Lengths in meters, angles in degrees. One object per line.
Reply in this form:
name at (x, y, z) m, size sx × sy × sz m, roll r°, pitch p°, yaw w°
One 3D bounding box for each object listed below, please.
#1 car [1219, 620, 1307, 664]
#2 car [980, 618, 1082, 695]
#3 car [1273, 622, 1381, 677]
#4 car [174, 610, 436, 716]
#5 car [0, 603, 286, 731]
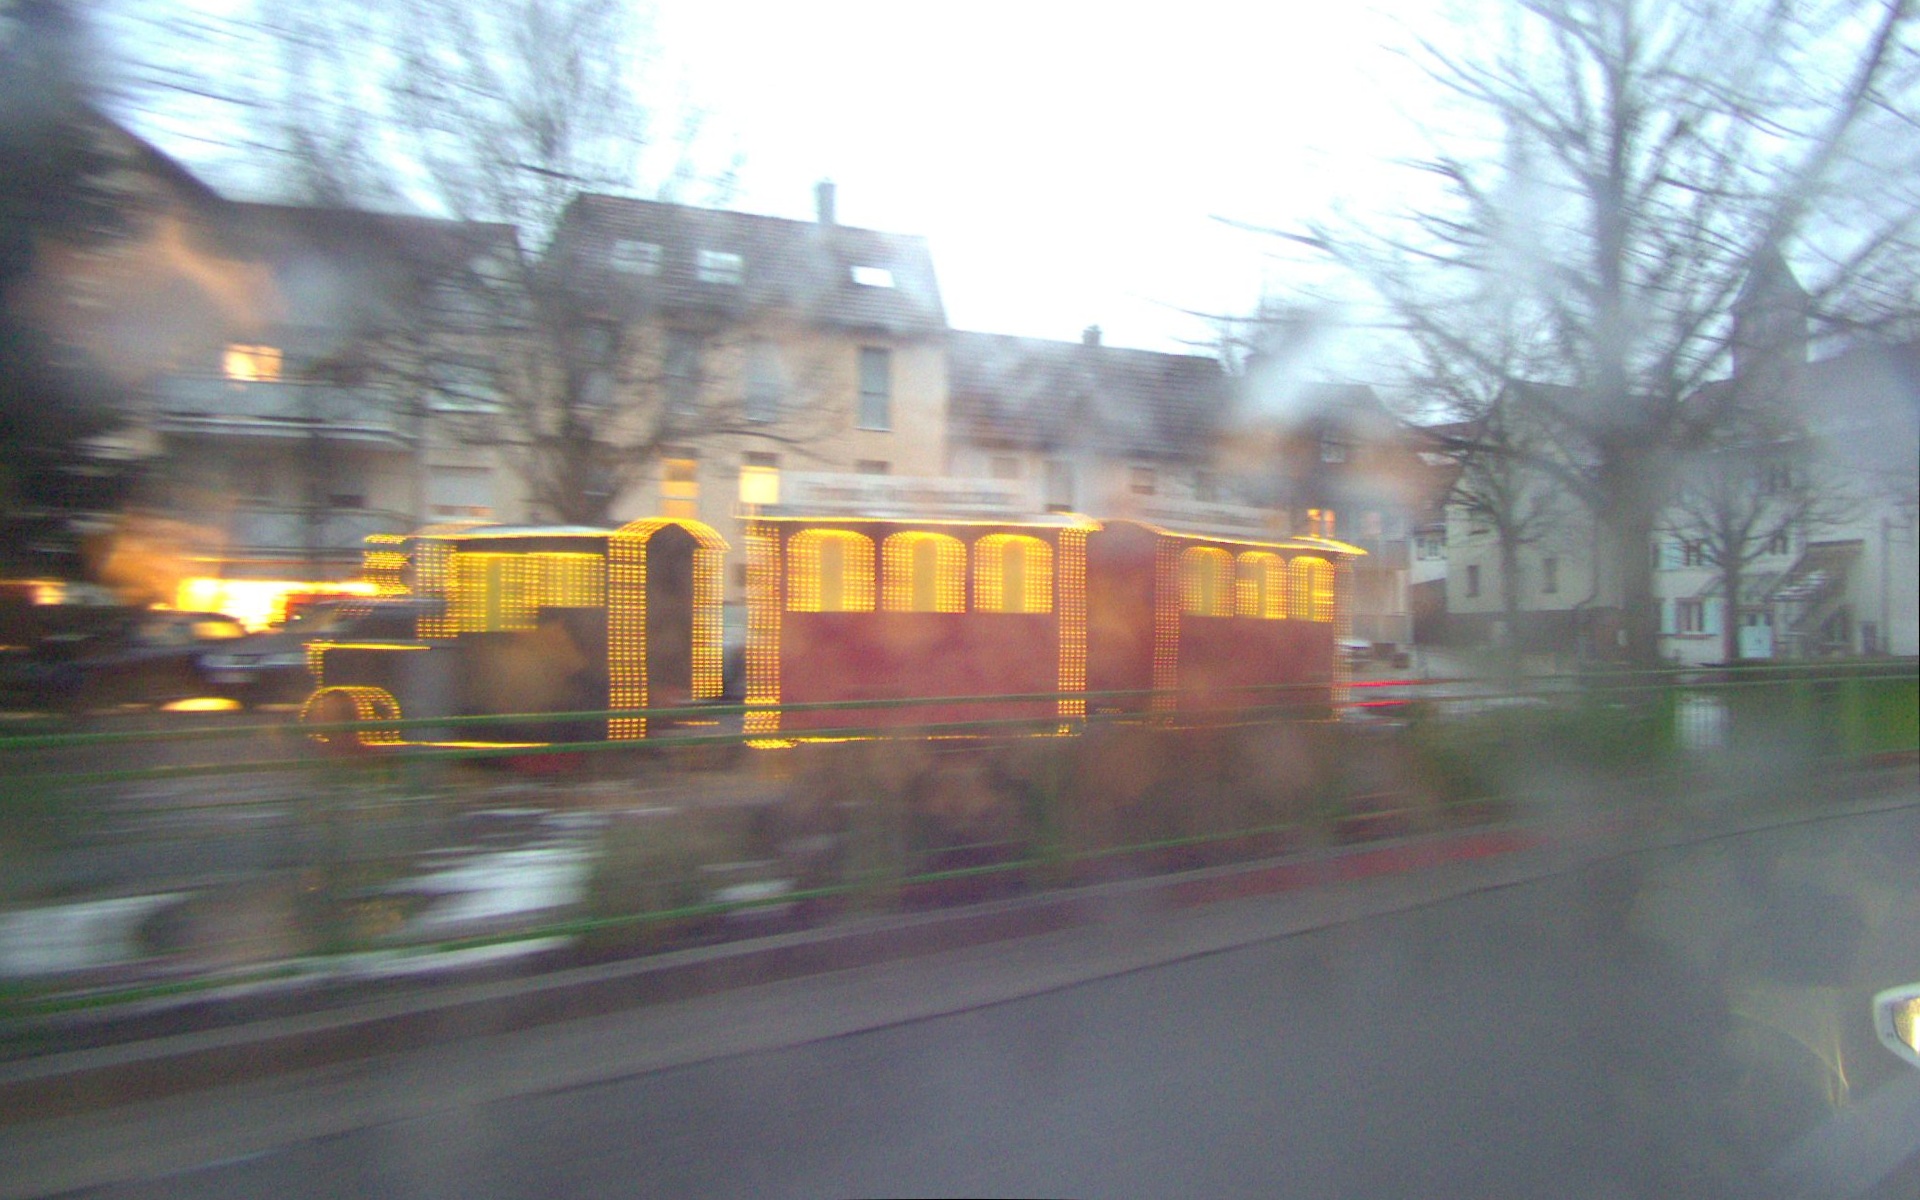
car at (9.996, 1.363, 33.301) m, size 1.502 × 1.142 × 3.047 m, roll 1°, pitch 3°, yaw -12°
car at (1.360, 0.965, 18.260) m, size 1.577 × 1.236 × 3.057 m, roll 0°, pitch 0°, yaw 9°
car at (12.368, 1.633, 34.054) m, size 1.685 × 1.634 × 3.599 m, roll 0°, pitch 1°, yaw -15°
car at (-9.157, 0.816, 14.386) m, size 1.582 × 1.346 × 3.327 m, roll 0°, pitch -1°, yaw 0°
car at (-11.675, 0.815, 13.982) m, size 1.884 × 1.528 × 4.000 m, roll 0°, pitch -1°, yaw 0°
